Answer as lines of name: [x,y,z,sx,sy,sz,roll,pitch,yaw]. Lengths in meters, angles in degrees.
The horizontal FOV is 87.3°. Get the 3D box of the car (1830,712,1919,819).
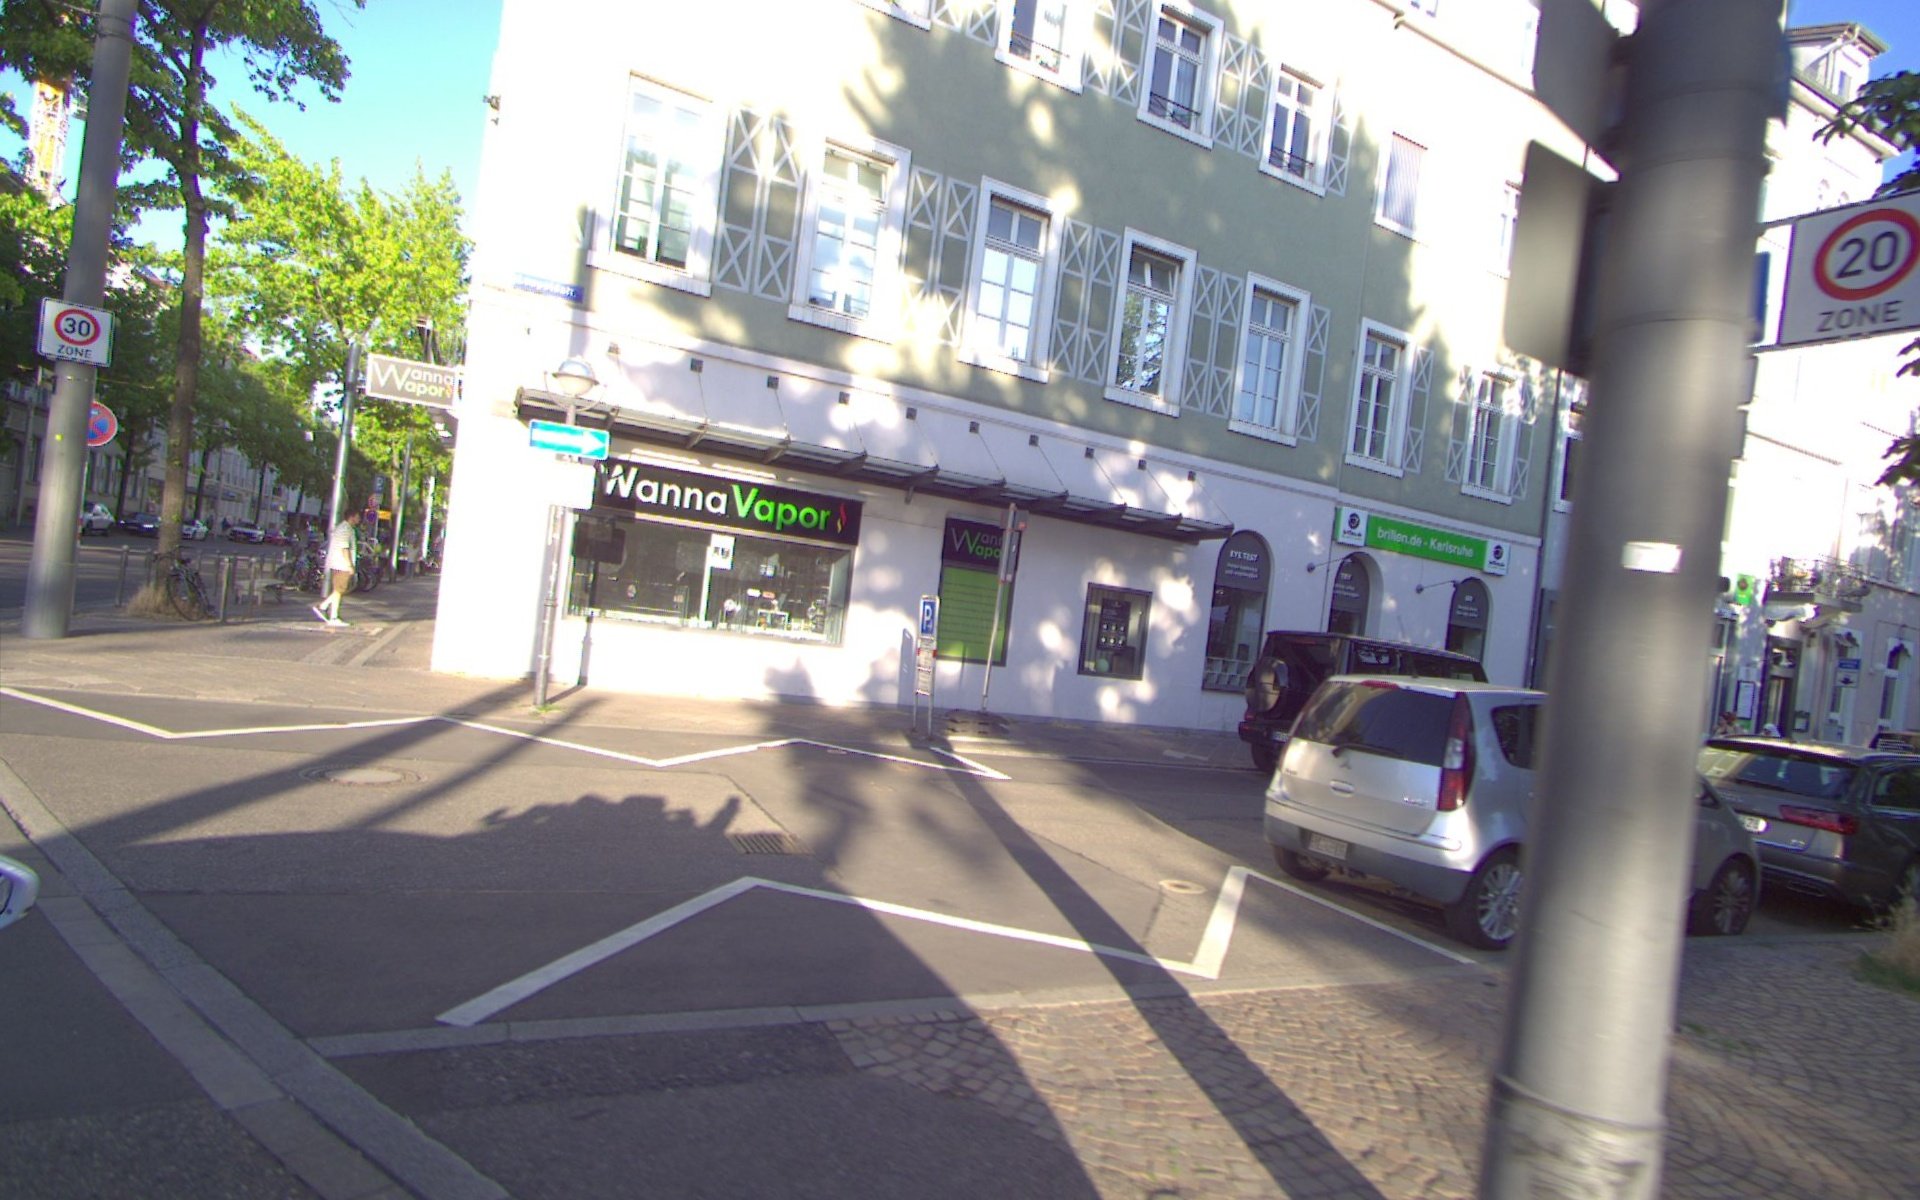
car: [21.270,3.704,21.798,4.459,1.986,2.011,8,-1,-27]

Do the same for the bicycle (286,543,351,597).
bicycle: [-16.144,-0.757,25.300,1.651,1.168,0.461,7,0,25]

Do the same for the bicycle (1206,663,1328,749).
bicycle: [5.289,1.834,17.300,1.964,1.260,0.682,7,0,-26]

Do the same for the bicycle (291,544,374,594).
bicycle: [-18.024,-0.886,28.929,1.848,1.168,0.559,8,-1,-24]

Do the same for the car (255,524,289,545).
car: [-63.956,-6.076,93.559,1.673,1.517,4.210,8,-1,-24]

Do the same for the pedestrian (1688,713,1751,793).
pedestrian: [16.312,3.281,21.617,0.726,1.588,0.682,7,0,-26]

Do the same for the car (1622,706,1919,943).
car: [8.388,2.005,9.207,4.617,1.532,1.728,8,-1,-27]

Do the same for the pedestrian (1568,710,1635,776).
pedestrian: [13.832,3.082,21.692,1.015,1.260,0.682,7,0,-26]

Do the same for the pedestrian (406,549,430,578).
pedestrian: [-28.818,-1.959,53.497,0.734,1.404,0.709,7,0,27]

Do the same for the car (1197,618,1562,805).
car: [5.721,1.526,13.677,4.458,1.987,2.010,8,-1,-27]

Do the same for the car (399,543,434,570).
car: [-36.025,-2.888,66.678,1.801,1.503,3.969,8,-1,-30]

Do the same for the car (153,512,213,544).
car: [-52.372,-4.842,67.917,1.928,1.659,4.882,8,-1,-24]

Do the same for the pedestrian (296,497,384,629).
pedestrian: [-10.257,-0.607,16.653,0.832,2.037,0.843,6,-1,41]

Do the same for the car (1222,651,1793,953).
car: [3.868,1.358,7.092,3.535,1.532,1.728,8,-1,-27]

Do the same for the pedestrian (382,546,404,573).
pedestrian: [-29.959,-2.132,53.140,0.808,1.281,0.583,7,0,-20]

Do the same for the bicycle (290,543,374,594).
bicycle: [-17.706,-0.882,28.416,1.848,1.168,0.559,8,-1,-24]

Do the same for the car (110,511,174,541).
car: [-49.400,-4.433,60.836,1.946,1.429,4.813,8,-1,-28]

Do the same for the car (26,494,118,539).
car: [-44.246,-4.122,50.258,1.946,1.658,4.784,10,-2,-25]

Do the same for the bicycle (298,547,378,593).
bicycle: [-18.248,-0.876,29.553,1.847,1.169,0.559,5,0,-24]

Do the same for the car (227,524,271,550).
car: [-60.185,-5.305,85.196,1.943,1.712,4.985,8,-1,-24]

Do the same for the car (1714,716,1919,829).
car: [16.831,3.326,19.240,4.459,1.636,2.011,8,-2,-27]

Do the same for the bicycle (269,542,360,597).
bicycle: [-16.718,-0.768,26.101,1.848,1.168,0.346,8,-1,-24]

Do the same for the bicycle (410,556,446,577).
bicycle: [-33.268,-2.084,62.912,1.844,1.087,0.705,7,0,-35]

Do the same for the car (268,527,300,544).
car: [-67.662,-6.431,100.701,1.976,1.307,3.976,8,-1,-25]

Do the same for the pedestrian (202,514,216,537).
pedestrian: [-63.298,-6.269,84.825,0.702,1.828,0.670,6,0,-31]

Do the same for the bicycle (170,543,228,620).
bicycle: [-11.708,-0.300,15.501,0.351,1.089,1.687,7,-1,-28]

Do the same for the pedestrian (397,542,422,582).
pedestrian: [-24.546,-1.690,44.882,0.795,1.664,0.751,6,1,-25]

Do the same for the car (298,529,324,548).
car: [-73.131,-6.943,113.372,1.534,1.817,3.156,7,0,-17]

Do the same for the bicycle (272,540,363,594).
bicycle: [-16.940,-0.864,26.581,1.848,1.168,0.559,8,-1,-24]

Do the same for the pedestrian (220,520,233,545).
pedestrian: [-62.221,-5.709,85.327,0.702,2.029,0.669,6,0,-33]

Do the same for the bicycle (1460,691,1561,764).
bicycle: [11.144,2.589,20.361,1.964,1.260,0.682,7,0,-26]

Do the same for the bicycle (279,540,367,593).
bicycle: [-17.217,-0.896,27.233,1.848,1.168,0.559,8,-1,-24]

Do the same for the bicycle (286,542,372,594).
bicycle: [-17.441,-0.875,27.865,1.848,1.168,0.559,8,-1,-24]

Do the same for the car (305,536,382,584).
car: [-21.967,-1.407,35.977,1.758,1.458,4.397,4,0,-25]
